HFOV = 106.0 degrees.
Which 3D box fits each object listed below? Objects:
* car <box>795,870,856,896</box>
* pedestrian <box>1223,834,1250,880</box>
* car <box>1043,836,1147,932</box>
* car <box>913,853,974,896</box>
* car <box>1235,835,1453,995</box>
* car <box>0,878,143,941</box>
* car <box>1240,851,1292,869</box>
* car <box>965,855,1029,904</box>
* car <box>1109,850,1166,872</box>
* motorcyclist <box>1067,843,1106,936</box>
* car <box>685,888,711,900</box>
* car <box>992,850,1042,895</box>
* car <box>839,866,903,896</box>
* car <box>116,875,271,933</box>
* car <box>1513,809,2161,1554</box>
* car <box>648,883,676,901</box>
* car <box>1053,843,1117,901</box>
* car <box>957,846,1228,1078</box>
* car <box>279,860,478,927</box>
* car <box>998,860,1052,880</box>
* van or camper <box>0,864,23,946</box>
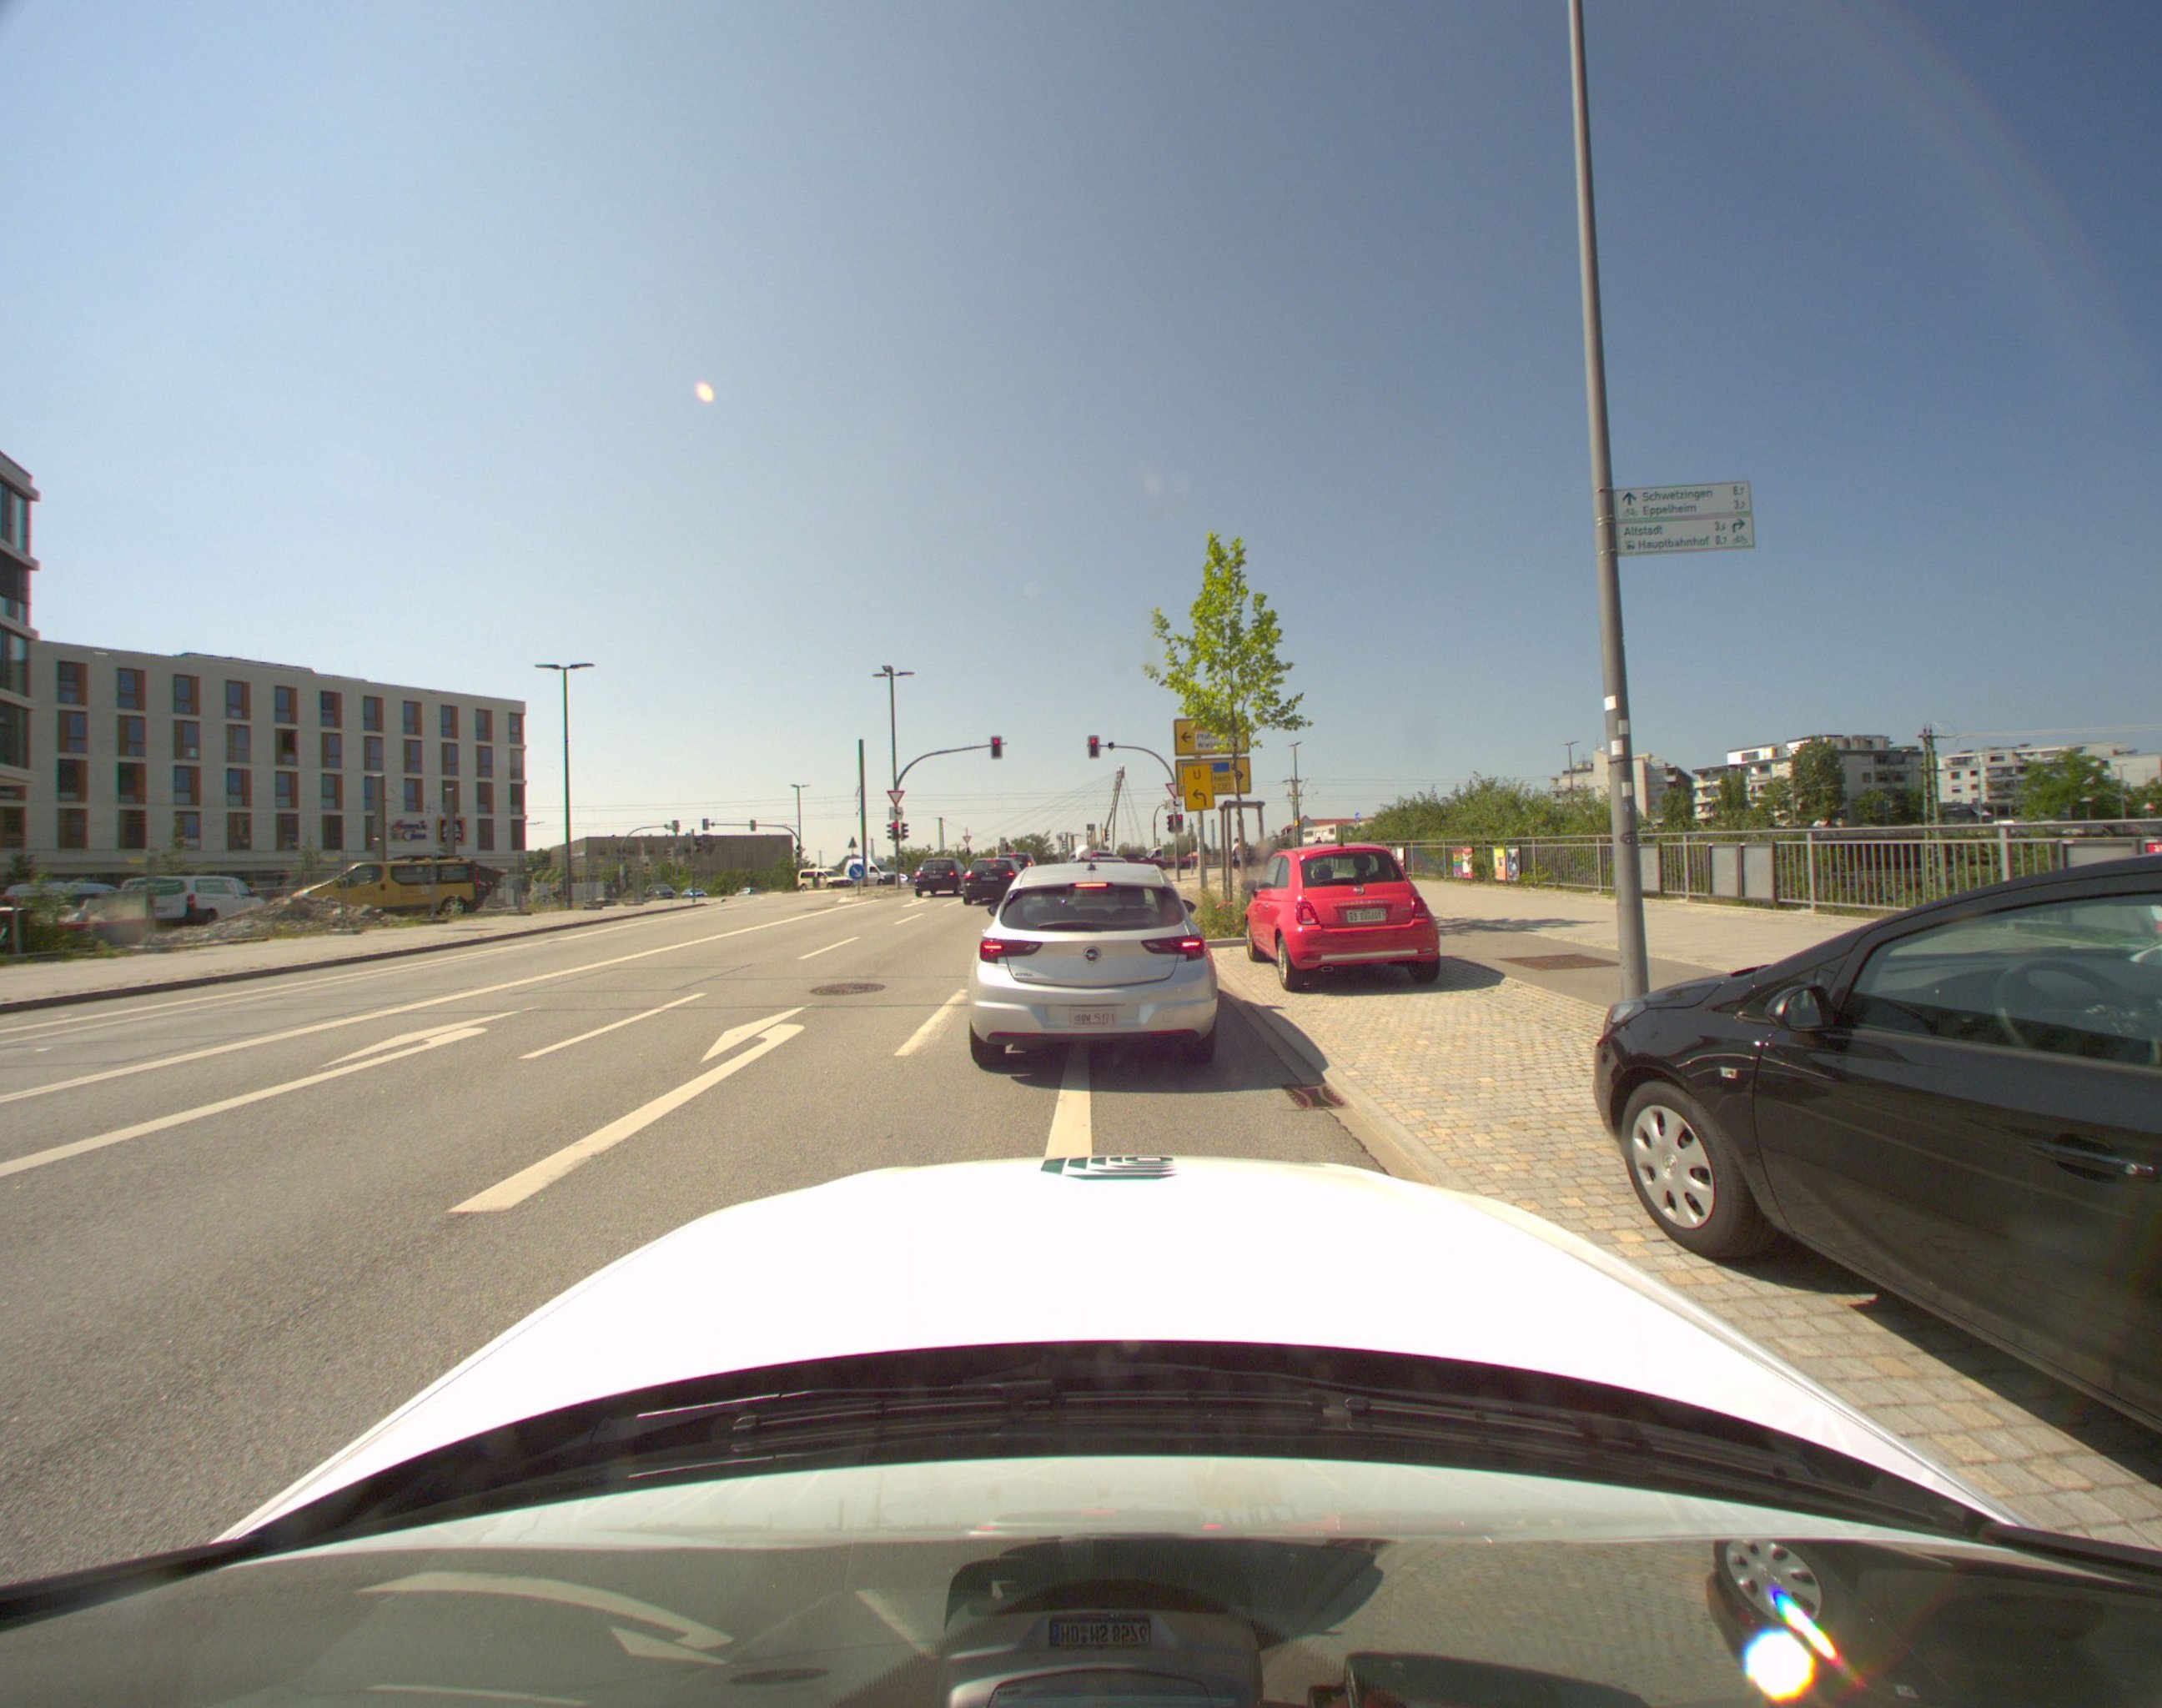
[{"bbox_3d":[-20.617,2.281,65.658,4.657,2.014,2.012,-1,-1,30],"label":"car"},{"bbox_3d":[6.229,0.118,32.687,0.801,1.836,0.642,-1,-1,-38],"label":"pedestrian"},{"bbox_3d":[0.336,0.553,17.760,1.986,1.820,4.404,0,0,2],"label":"car"},{"bbox_3d":[-5.213,0.756,31.350,1.591,1.547,3.764,0,-1,2],"label":"car"},{"bbox_3d":[2.933,0.603,9.789,1.603,1.496,3.355,-4,0,3],"label":"car"},{"bbox_3d":[-33.713,1.780,27.201,1.794,1.857,3.817,0,-1,-27],"label":"car"},{"bbox_3d":[14.687,0.492,64.670,3.711,1.384,1.582,-1,-1,-6],"label":"car"},{"bbox_3d":[-2.609,0.778,25.919,1.569,1.434,3.786,0,0,1],"label":"car"},{"bbox_3d":[4.328,0.544,62.835,4.260,1.631,1.756,-1,-1,0],"label":"car"},{"bbox_3d":[0.092,0.535,12.491,0.579,1.389,0.707,0,-1,1],"label":"motorcyclist"},{"bbox_3d":[-44.140,4.564,93.872,1.832,1.331,3.954,0,-2,-39],"label":"car"},{"bbox_3d":[-2.448,0.694,31.785,1.644,1.615,3.819,0,-1,0],"label":"car"},{"bbox_3d":[-17.328,2.221,67.047,4.956,2.376,1.793,-1,-1,22],"label":"car"},{"bbox_3d":[-31.046,1.678,28.701,1.873,1.774,4.619,0,-1,-22],"label":"car"},{"bbox_3d":[2.892,0.599,1.919,1.654,1.426,4.001,-3,-1,2],"label":"car"},{"bbox_3d":[-38.525,3.437,74.819,1.686,1.476,3.368,-2,0,-37],"label":"car"},{"bbox_3d":[0.176,0.460,24.077,1.717,1.563,4.002,0,1,2],"label":"car"},{"bbox_3d":[0.056,0.706,7.248,1.738,1.478,3.998,0,0,-1],"label":"car"},{"bbox_3d":[-22.667,1.180,26.447,1.964,1.962,4.655,-1,-1,40],"label":"car"},{"bbox_3d":[-4.311,1.236,63.602,3.970,1.483,2.001,0,-1,3],"label":"car"},{"bbox_3d":[-36.506,1.706,25.389,2.318,2.735,4.944,0,-1,-26],"label":"van or camper"}]
